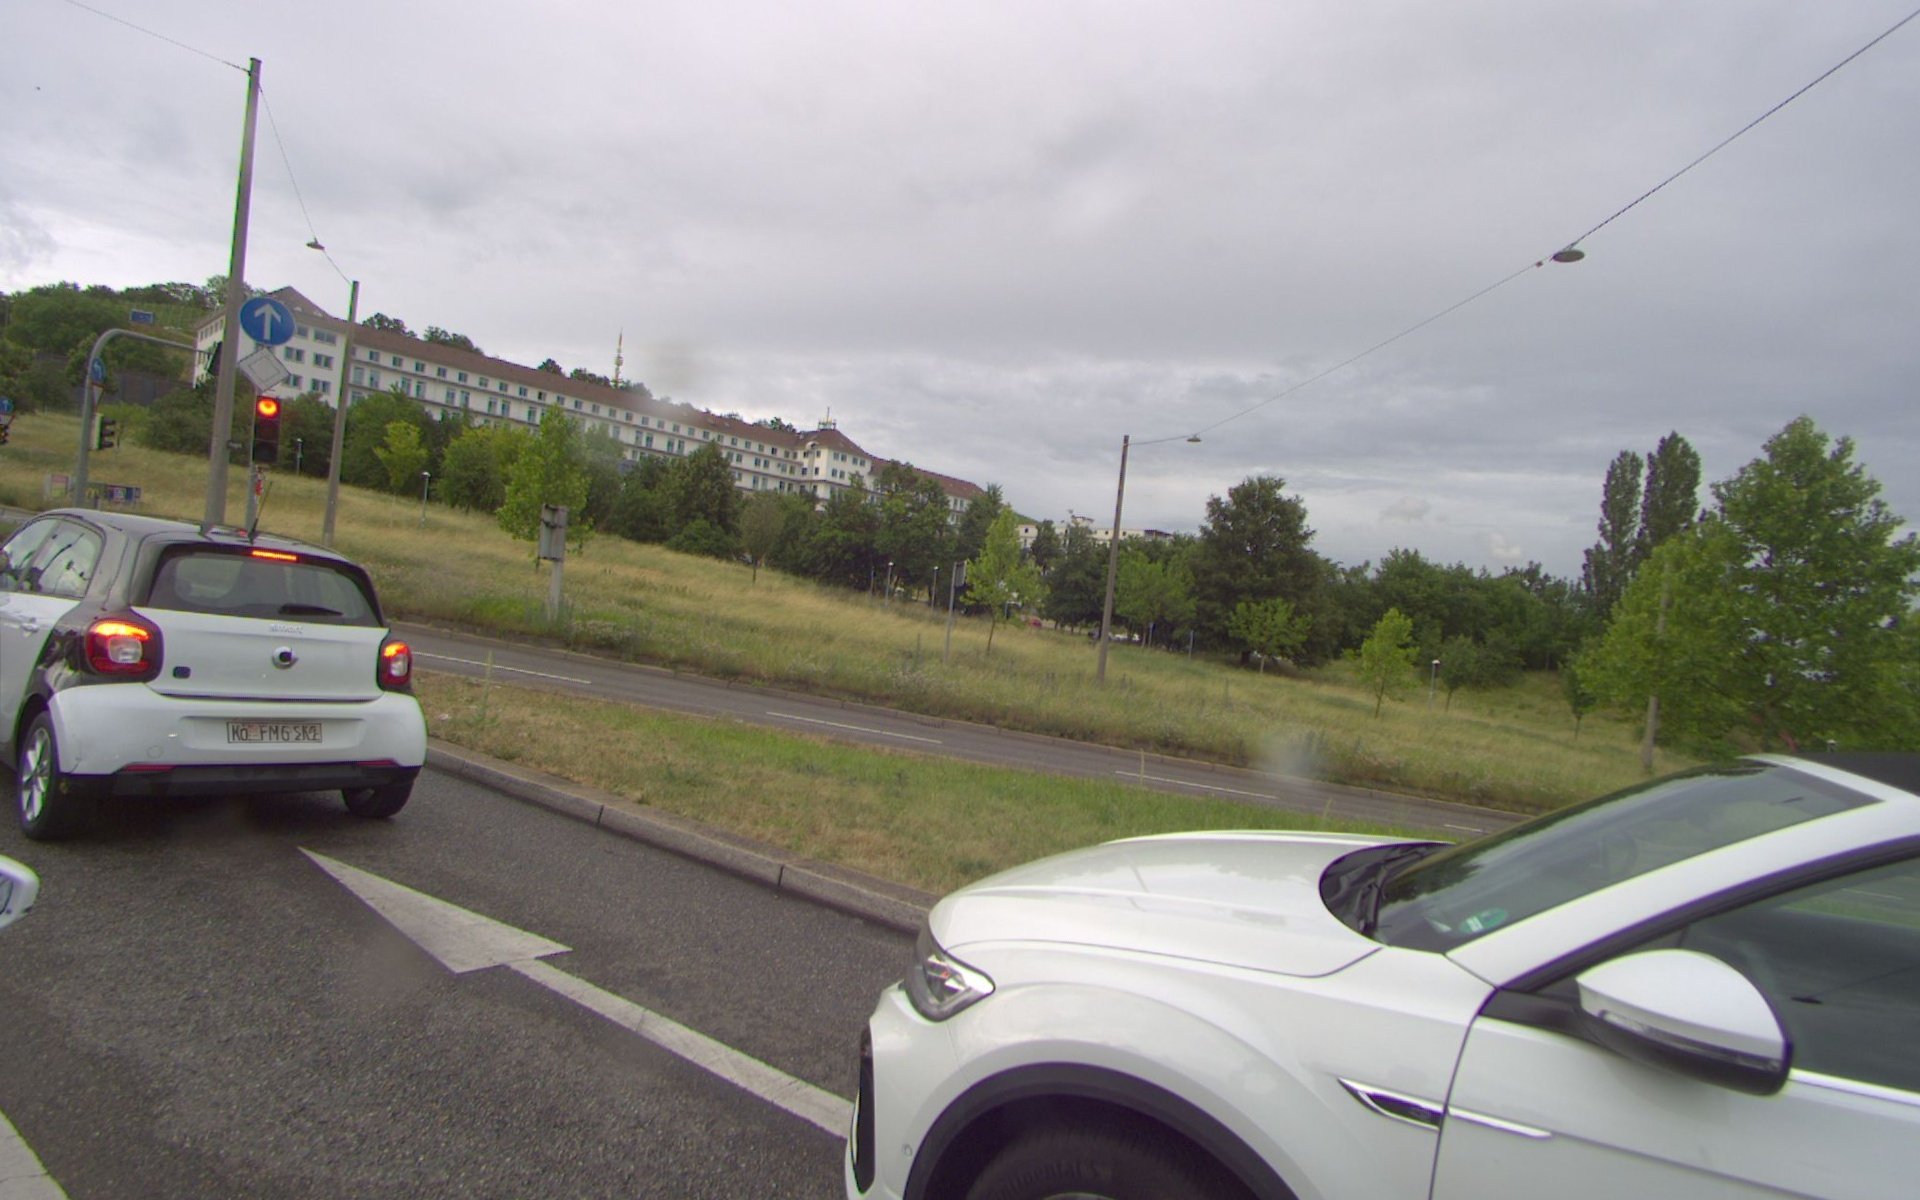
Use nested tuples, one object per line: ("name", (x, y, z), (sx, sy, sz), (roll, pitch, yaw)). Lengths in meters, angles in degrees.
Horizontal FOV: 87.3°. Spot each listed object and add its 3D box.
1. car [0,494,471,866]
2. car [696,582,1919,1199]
("car", (-4.613, 0.296, 5.825), (3.397, 1.520, 1.659), (6, -2, 36))
("car", (1.735, 1.013, 1.801), (4.156, 1.571, 1.718), (6, -2, 28))
